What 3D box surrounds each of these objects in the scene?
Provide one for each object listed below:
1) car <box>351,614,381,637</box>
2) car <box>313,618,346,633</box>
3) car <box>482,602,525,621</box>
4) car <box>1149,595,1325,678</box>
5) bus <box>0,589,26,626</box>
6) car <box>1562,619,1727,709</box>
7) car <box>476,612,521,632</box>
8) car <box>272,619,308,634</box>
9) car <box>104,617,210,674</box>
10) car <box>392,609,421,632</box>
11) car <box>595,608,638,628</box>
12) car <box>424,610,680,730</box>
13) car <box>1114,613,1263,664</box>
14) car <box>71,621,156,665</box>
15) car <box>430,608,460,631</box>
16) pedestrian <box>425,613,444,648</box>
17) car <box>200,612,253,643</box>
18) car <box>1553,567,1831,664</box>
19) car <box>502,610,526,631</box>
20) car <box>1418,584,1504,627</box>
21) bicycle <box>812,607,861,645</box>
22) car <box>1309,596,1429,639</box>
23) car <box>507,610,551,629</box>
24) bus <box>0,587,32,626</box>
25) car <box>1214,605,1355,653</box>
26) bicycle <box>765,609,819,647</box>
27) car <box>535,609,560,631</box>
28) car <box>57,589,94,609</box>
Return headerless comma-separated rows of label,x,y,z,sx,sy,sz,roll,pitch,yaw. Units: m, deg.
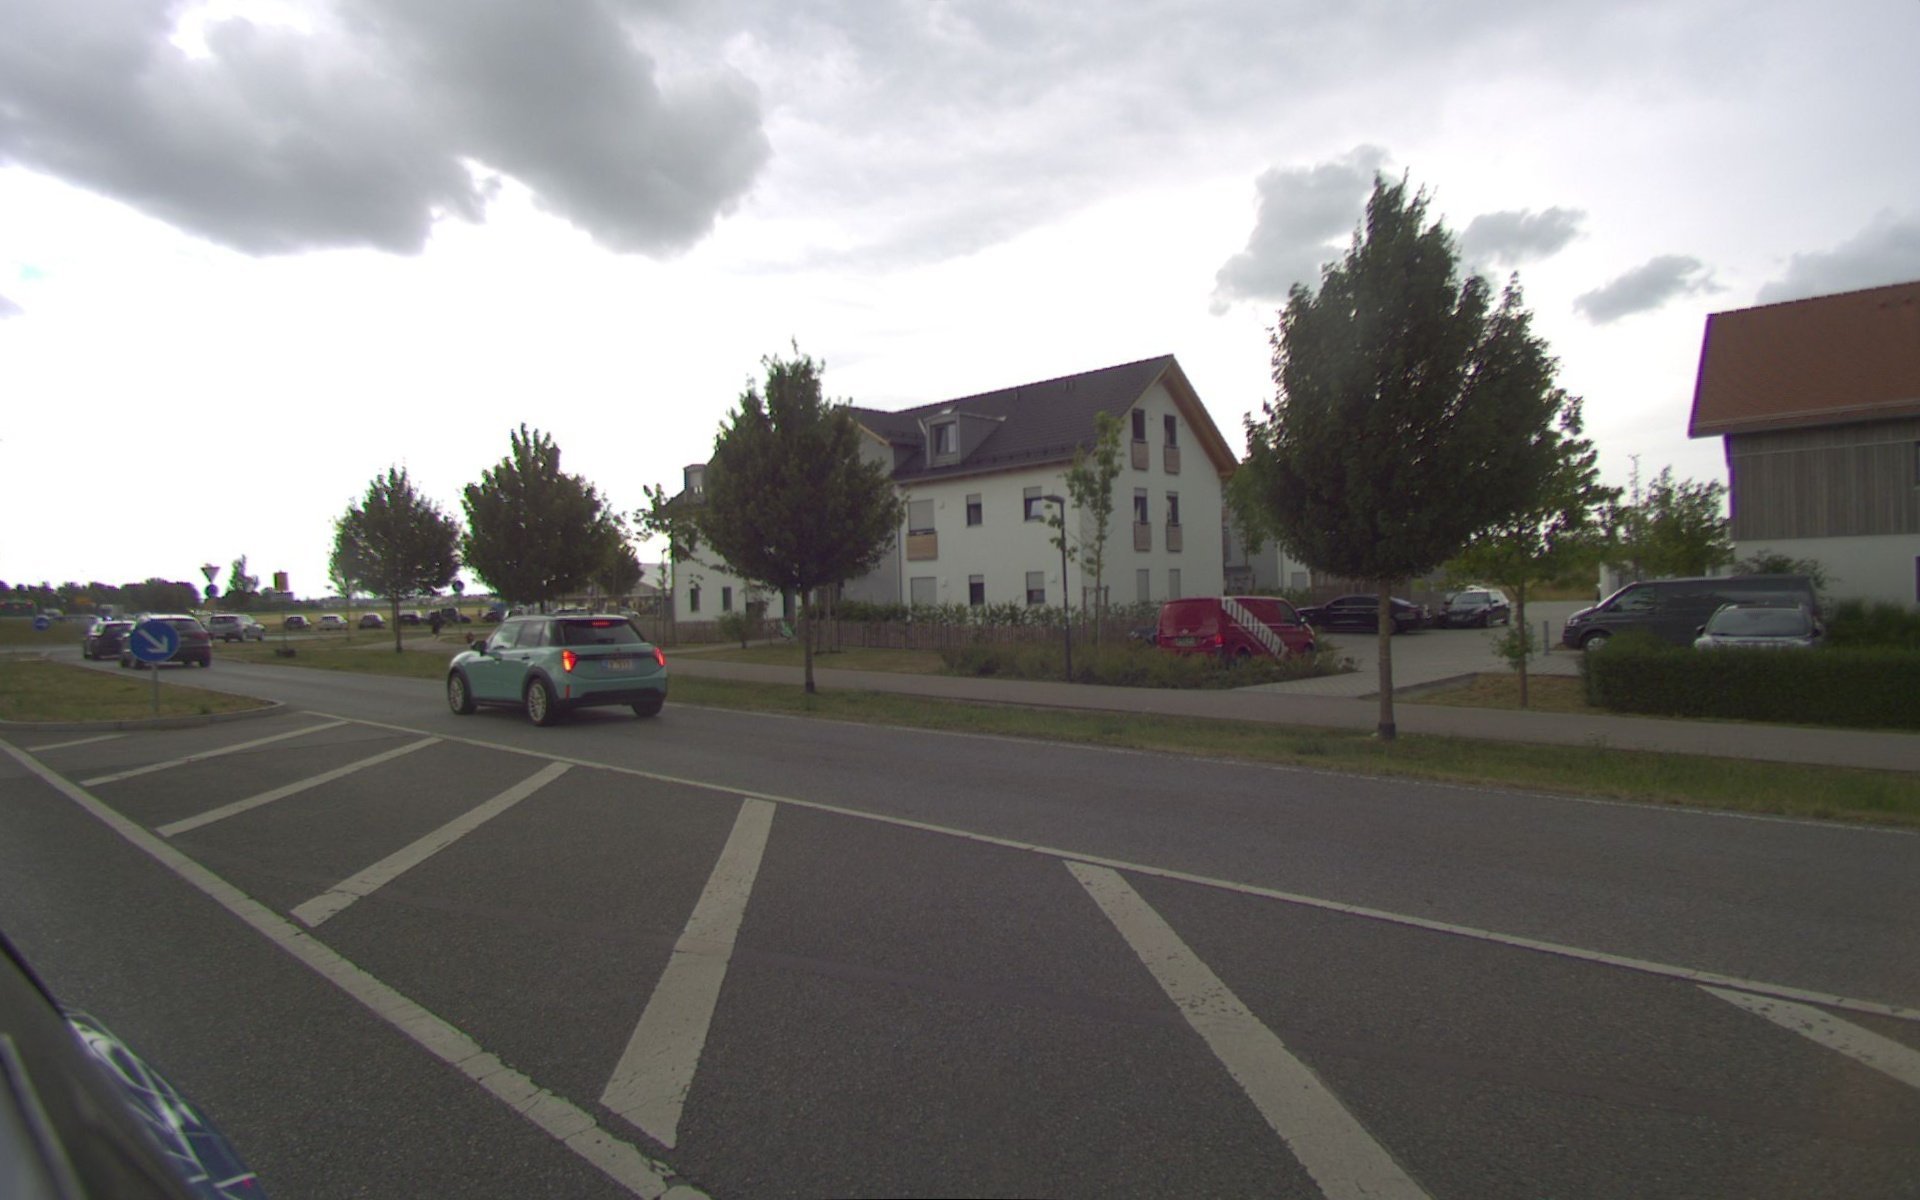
car,-53.477,2.276,91.179,1.965,2.029,4.013,0,-1,-24
car,-55.925,2.285,89.797,1.965,1.298,4.013,0,-1,-24
car,-50.848,1.308,112.770,1.991,2.029,3.961,-1,-1,29
car,6.836,0.820,24.652,4.848,1.830,1.908,0,-1,-44
bus,-87.732,0.711,92.672,6.704,3.305,2.950,-2,-2,44
car,13.048,1.112,19.152,1.906,1.441,4.853,-2,-1,42
car,-49.257,2.333,108.045,1.991,2.029,3.961,-1,-1,29
car,-58.746,2.307,88.788,1.965,1.298,4.013,0,-1,-24
car,-24.257,1.346,30.513,4.214,1.594,1.806,-2,-2,42
car,-50.336,1.888,92.050,1.965,2.029,4.013,0,-1,-24
car,-35.321,1.849,104.176,1.991,2.029,3.961,-1,-1,29
car,-5.828,0.898,14.251,3.998,1.454,1.751,-2,-1,41
car,6.848,1.138,30.539,3.998,1.431,1.856,-2,-1,41
car,-31.268,1.568,37.334,4.348,1.500,1.806,-2,-1,42
car,-47.390,1.788,93.121,1.966,2.029,4.011,0,-1,-34
pedestrian,-24.080,1.389,46.363,0.586,1.541,0.540,-2,1,41
car,-38.386,1.430,52.902,1.803,1.500,4.220,0,-1,-42
car,17.628,0.377,24.569,5.202,2.028,1.972,-2,3,44
car,-43.158,1.981,97.965,1.965,2.029,4.013,0,-1,-21
car,20.004,0.238,40.360,2.000,1.598,3.943,-2,-1,43
bicycle,-4.834,1.030,39.514,2.093,1.439,0.675,-2,-2,41
car,15.419,0.680,38.178,3.987,1.538,1.557,-1,-1,32
car,-45.679,2.049,107.292,1.994,2.029,3.956,-1,-1,32
bus,-82.990,0.603,88.037,6.487,3.305,2.950,-2,-2,44
car,10.719,0.952,33.587,3.998,1.519,1.973,-2,-1,41
bicycle,-6.385,1.058,38.319,2.342,1.423,0.675,-2,-2,41
car,-40.208,1.952,98.665,2.194,2.029,4.013,0,-1,-21
car,-71.609,-0.061,81.945,3.998,1.454,1.751,-2,-1,41
